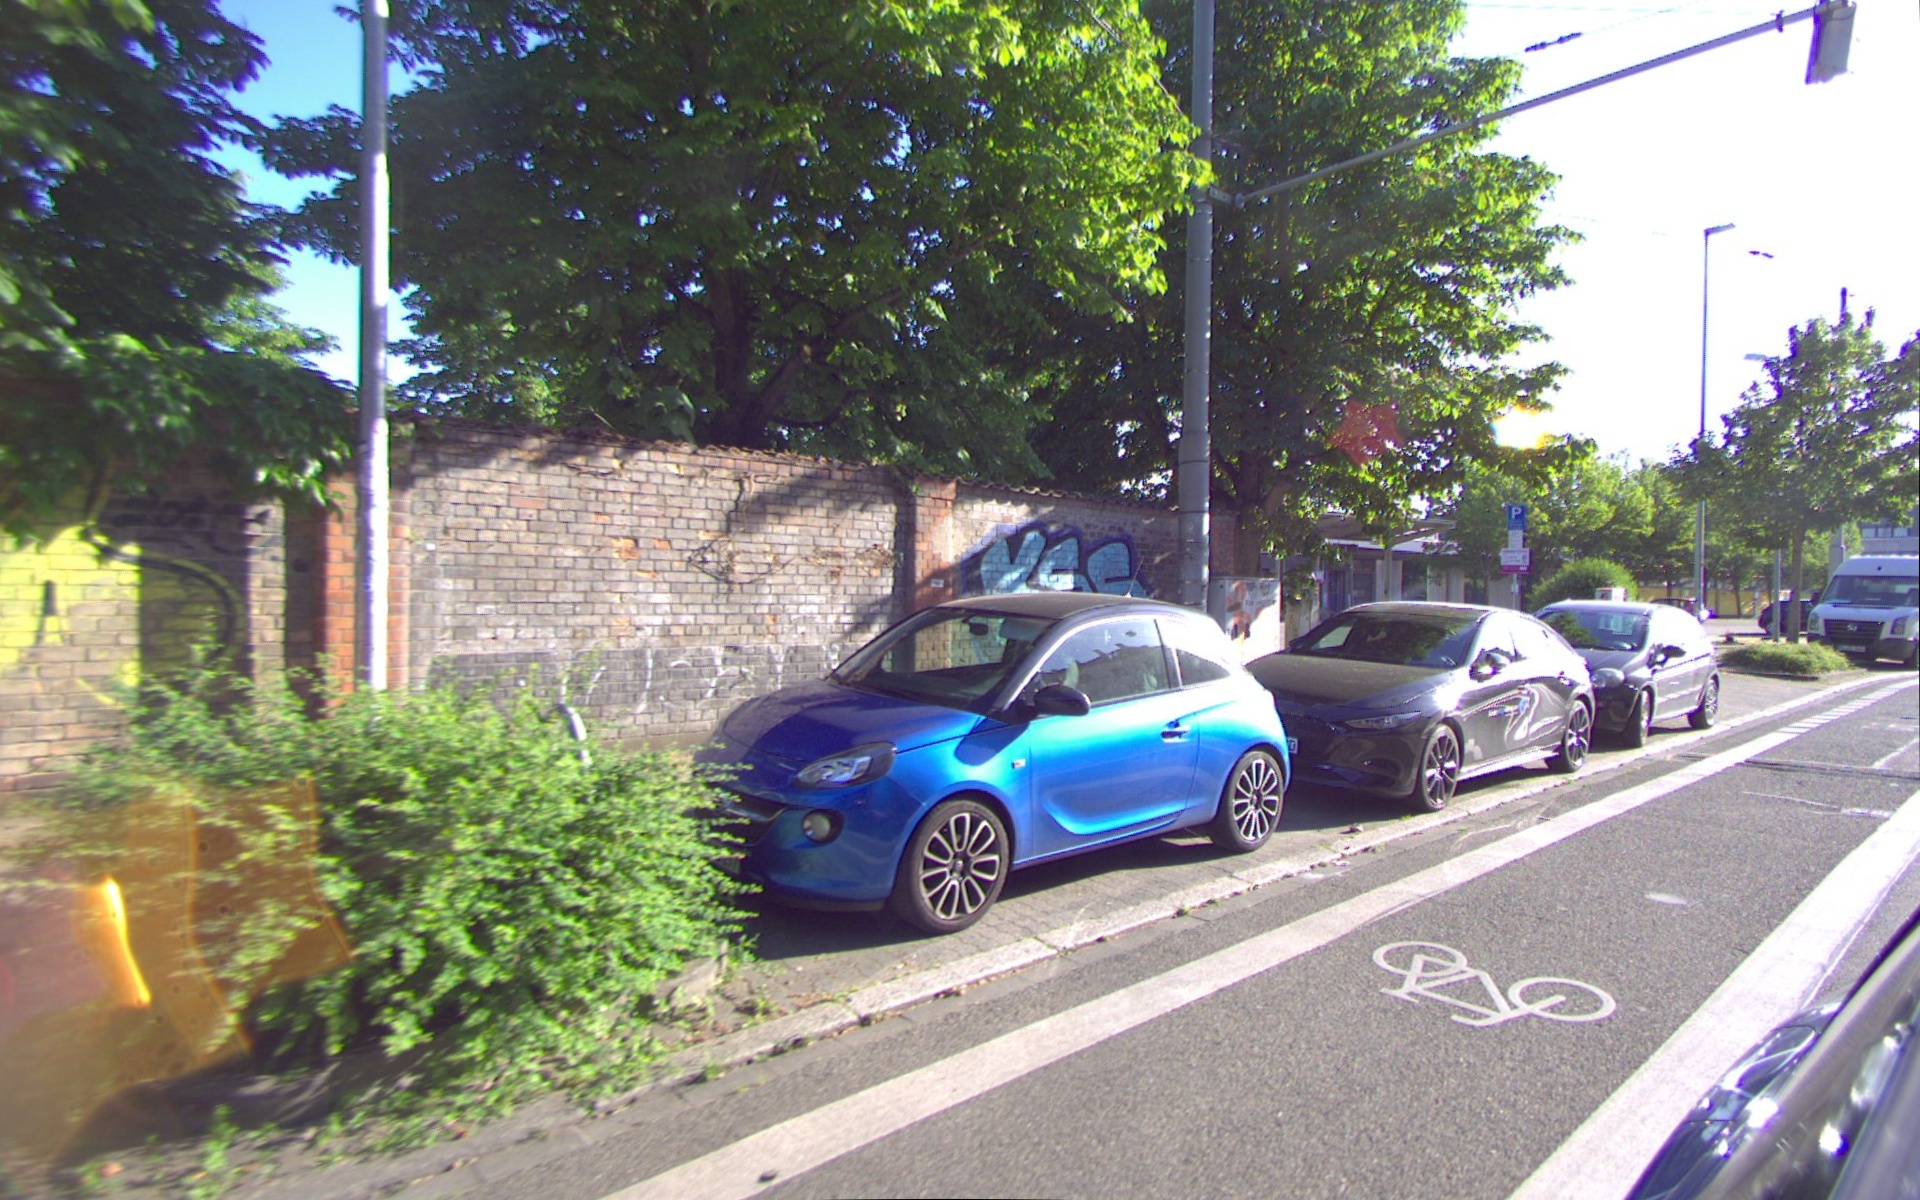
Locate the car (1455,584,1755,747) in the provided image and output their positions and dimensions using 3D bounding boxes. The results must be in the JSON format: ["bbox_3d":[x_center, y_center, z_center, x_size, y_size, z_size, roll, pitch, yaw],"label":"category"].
[{"bbox_3d":[7.567,0.621,11.746,3.927,1.549,1.694,0,2,-38],"label":"car"}]

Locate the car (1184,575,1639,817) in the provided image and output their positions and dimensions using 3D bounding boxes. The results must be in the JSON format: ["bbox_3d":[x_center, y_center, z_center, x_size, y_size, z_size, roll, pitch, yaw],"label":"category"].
[{"bbox_3d":[3.970,0.603,8.590,4.275,1.549,1.694,0,2,-38],"label":"car"}]

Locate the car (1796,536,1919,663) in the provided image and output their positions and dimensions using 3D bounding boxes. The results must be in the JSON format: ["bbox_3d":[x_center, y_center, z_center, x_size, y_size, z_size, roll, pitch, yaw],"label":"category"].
[{"bbox_3d":[22.545,-0.072,24.144,5.972,2.698,2.189,0,3,-33],"label":"car"}]

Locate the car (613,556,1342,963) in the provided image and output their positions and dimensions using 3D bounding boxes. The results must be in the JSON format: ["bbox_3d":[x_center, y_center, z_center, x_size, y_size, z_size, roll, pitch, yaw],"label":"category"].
[{"bbox_3d":[0.286,0.573,5.733,3.927,1.549,1.694,0,2,-38],"label":"car"}]
